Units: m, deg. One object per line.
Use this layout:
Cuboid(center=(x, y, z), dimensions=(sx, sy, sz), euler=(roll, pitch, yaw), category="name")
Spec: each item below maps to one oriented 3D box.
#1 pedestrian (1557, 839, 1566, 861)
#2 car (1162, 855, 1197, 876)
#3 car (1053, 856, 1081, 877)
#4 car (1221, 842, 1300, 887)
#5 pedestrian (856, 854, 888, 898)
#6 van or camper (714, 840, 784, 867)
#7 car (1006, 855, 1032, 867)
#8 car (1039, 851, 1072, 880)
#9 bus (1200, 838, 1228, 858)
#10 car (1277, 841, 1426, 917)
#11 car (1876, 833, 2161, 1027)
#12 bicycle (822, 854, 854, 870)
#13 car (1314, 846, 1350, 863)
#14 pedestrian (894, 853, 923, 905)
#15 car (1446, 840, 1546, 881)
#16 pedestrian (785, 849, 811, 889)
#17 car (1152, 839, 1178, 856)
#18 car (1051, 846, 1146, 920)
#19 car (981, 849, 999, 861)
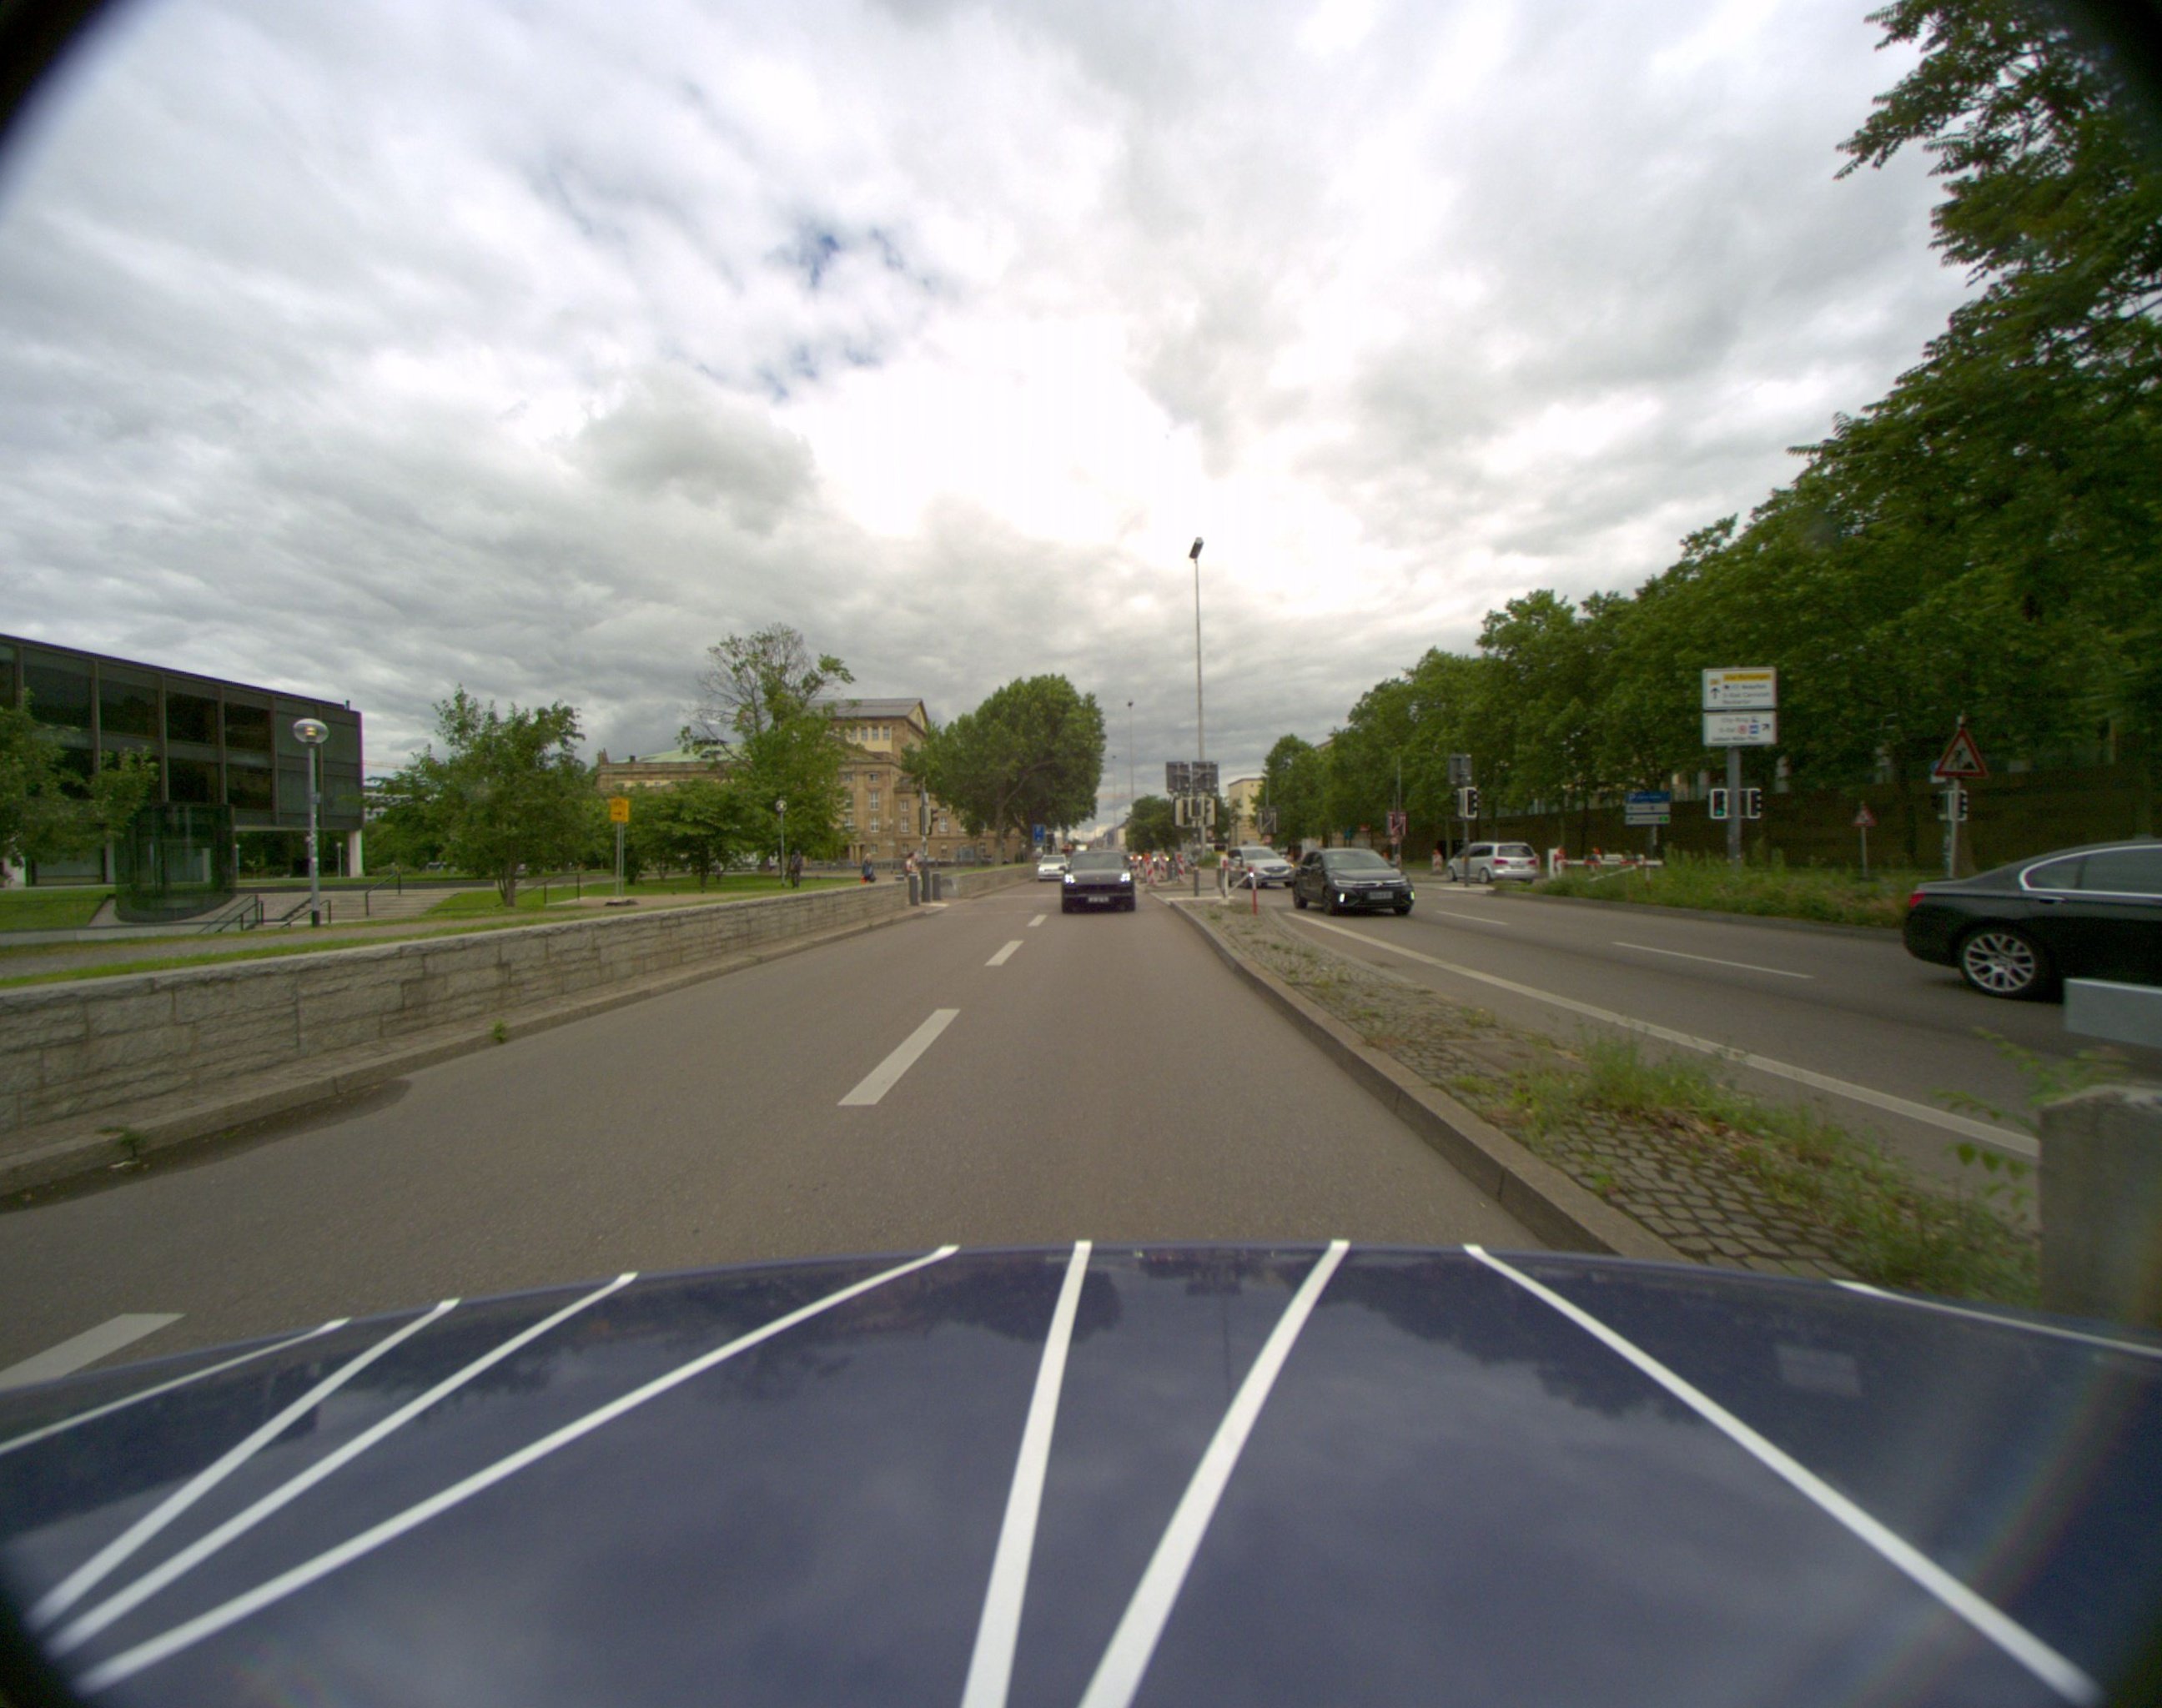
Cuboid(center=(36.883, -0.314, 58.330), dimensions=(0.355, 1.598, 0.443), euler=(-4, 2, -6), category="pedestrian")
Cuboid(center=(7.744, 0.895, 60.246), dimensions=(1.999, 1.474, 4.808), euler=(-1, 0, -1), category="car")
Cuboid(center=(-1.251, 1.039, 64.678), dimensions=(2.062, 1.616, 4.599), euler=(-3, 1, -4), category="car")
Cuboid(center=(7.075, 0.341, 30.490), dimensions=(1.999, 1.607, 4.737), euler=(-2, 1, 0), category="car")
Cuboid(center=(-7.486, 0.773, 27.223), dimensions=(0.683, 1.553, 0.909), euler=(1, 1, 18), category="pedestrian")
Cuboid(center=(-32.355, -0.061, 74.144), dimensions=(5.711, 2.307, 2.319), euler=(-2, 2, 0), category="van or camper")
Cuboid(center=(-9.754, 1.142, 119.119), dimensions=(3.999, 1.587, 1.733), euler=(-4, 2, -7), category="car")
Cuboid(center=(-1.543, 0.680, 47.201), dimensions=(1.696, 1.585, 3.999), euler=(-3, 1, 2), category="car")
Cuboid(center=(23.181, -0.994, 133.056), dimensions=(2.920, 3.286, 10.447), euler=(-1, 1, -1), category="bus")
Cuboid(center=(6.226, 0.483, 18.030), dimensions=(1.768, 1.507, 4.150), euler=(-3, 1, -4), category="car")
Cuboid(center=(9.299, 0.577, 5.532), dimensions=(1.998, 1.474, 4.809), euler=(-1, 0, 0), category="car")
Cuboid(center=(-18.837, 0.617, 58.955), dimensions=(2.197, 1.135, 0.685), euler=(-1, 1, 0), category="bicycle")
Cuboid(center=(20.762, 0.036, 63.072), dimensions=(1.730, 1.364, 4.000), euler=(-1, 0, 1), category="car")
Cuboid(center=(-5.657, 0.813, 25.001), dimensions=(0.699, 1.646, 0.683), euler=(-3, 2, 0), category="pedestrian")
Cuboid(center=(15.987, 0.213, 29.511), dimensions=(1.741, 1.481, 4.044), euler=(0, 1, 1), category="car")
Cuboid(center=(-11.637, 0.621, 31.260), dimensions=(0.803, 1.617, 0.626), euler=(-1, 1, 8), category="pedestrian")
Cuboid(center=(8.321, -0.653, 75.672), dimensions=(1.999, 1.636, 3.999), euler=(-2, 0, -1), category="car")
Cuboid(center=(0.326, 0.707, 20.385), dimensions=(2.062, 1.616, 4.600), euler=(-4, 0, -3), category="car")
Cuboid(center=(-12.715, 0.134, 106.262), dimensions=(1.768, 1.508, 4.218), euler=(-1, -1, 2), category="car")
